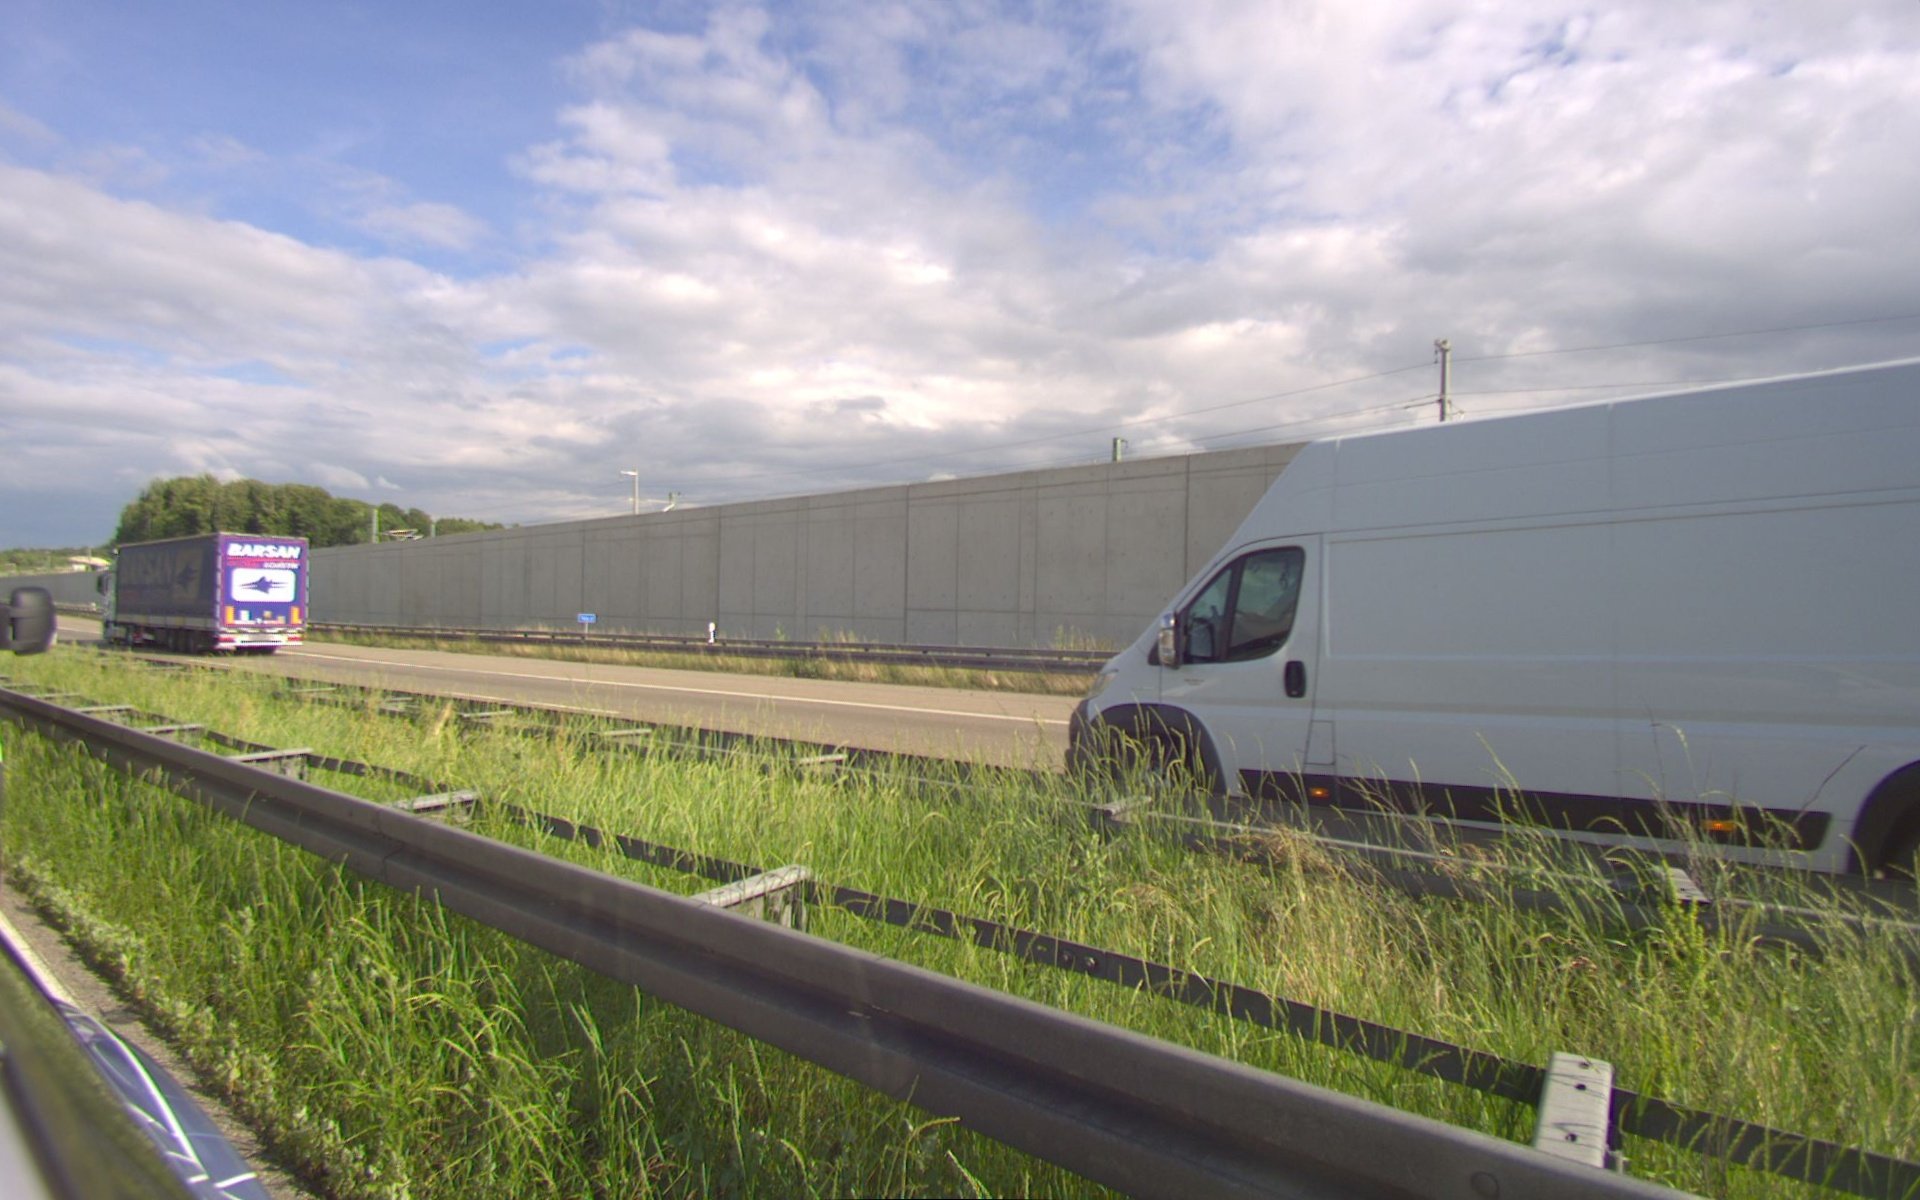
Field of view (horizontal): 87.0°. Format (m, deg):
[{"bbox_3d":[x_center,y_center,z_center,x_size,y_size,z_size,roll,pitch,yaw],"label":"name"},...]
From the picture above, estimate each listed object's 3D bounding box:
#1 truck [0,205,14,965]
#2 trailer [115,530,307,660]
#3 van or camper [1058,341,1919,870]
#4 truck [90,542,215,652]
[{"bbox_3d":[-7.510,-0.047,6.009,7.800,3.129,2.033,0,0,41],"label":"truck"},{"bbox_3d":[-27.682,-0.137,37.022,12.383,4.111,2.628,0,0,39],"label":"trailer"},{"bbox_3d":[3.775,0.018,5.822,6.250,2.222,2.145,0,0,38],"label":"van or camper"},{"bbox_3d":[-33.204,-0.109,41.536,6.995,4.129,2.612,0,0,39],"label":"truck"}]
